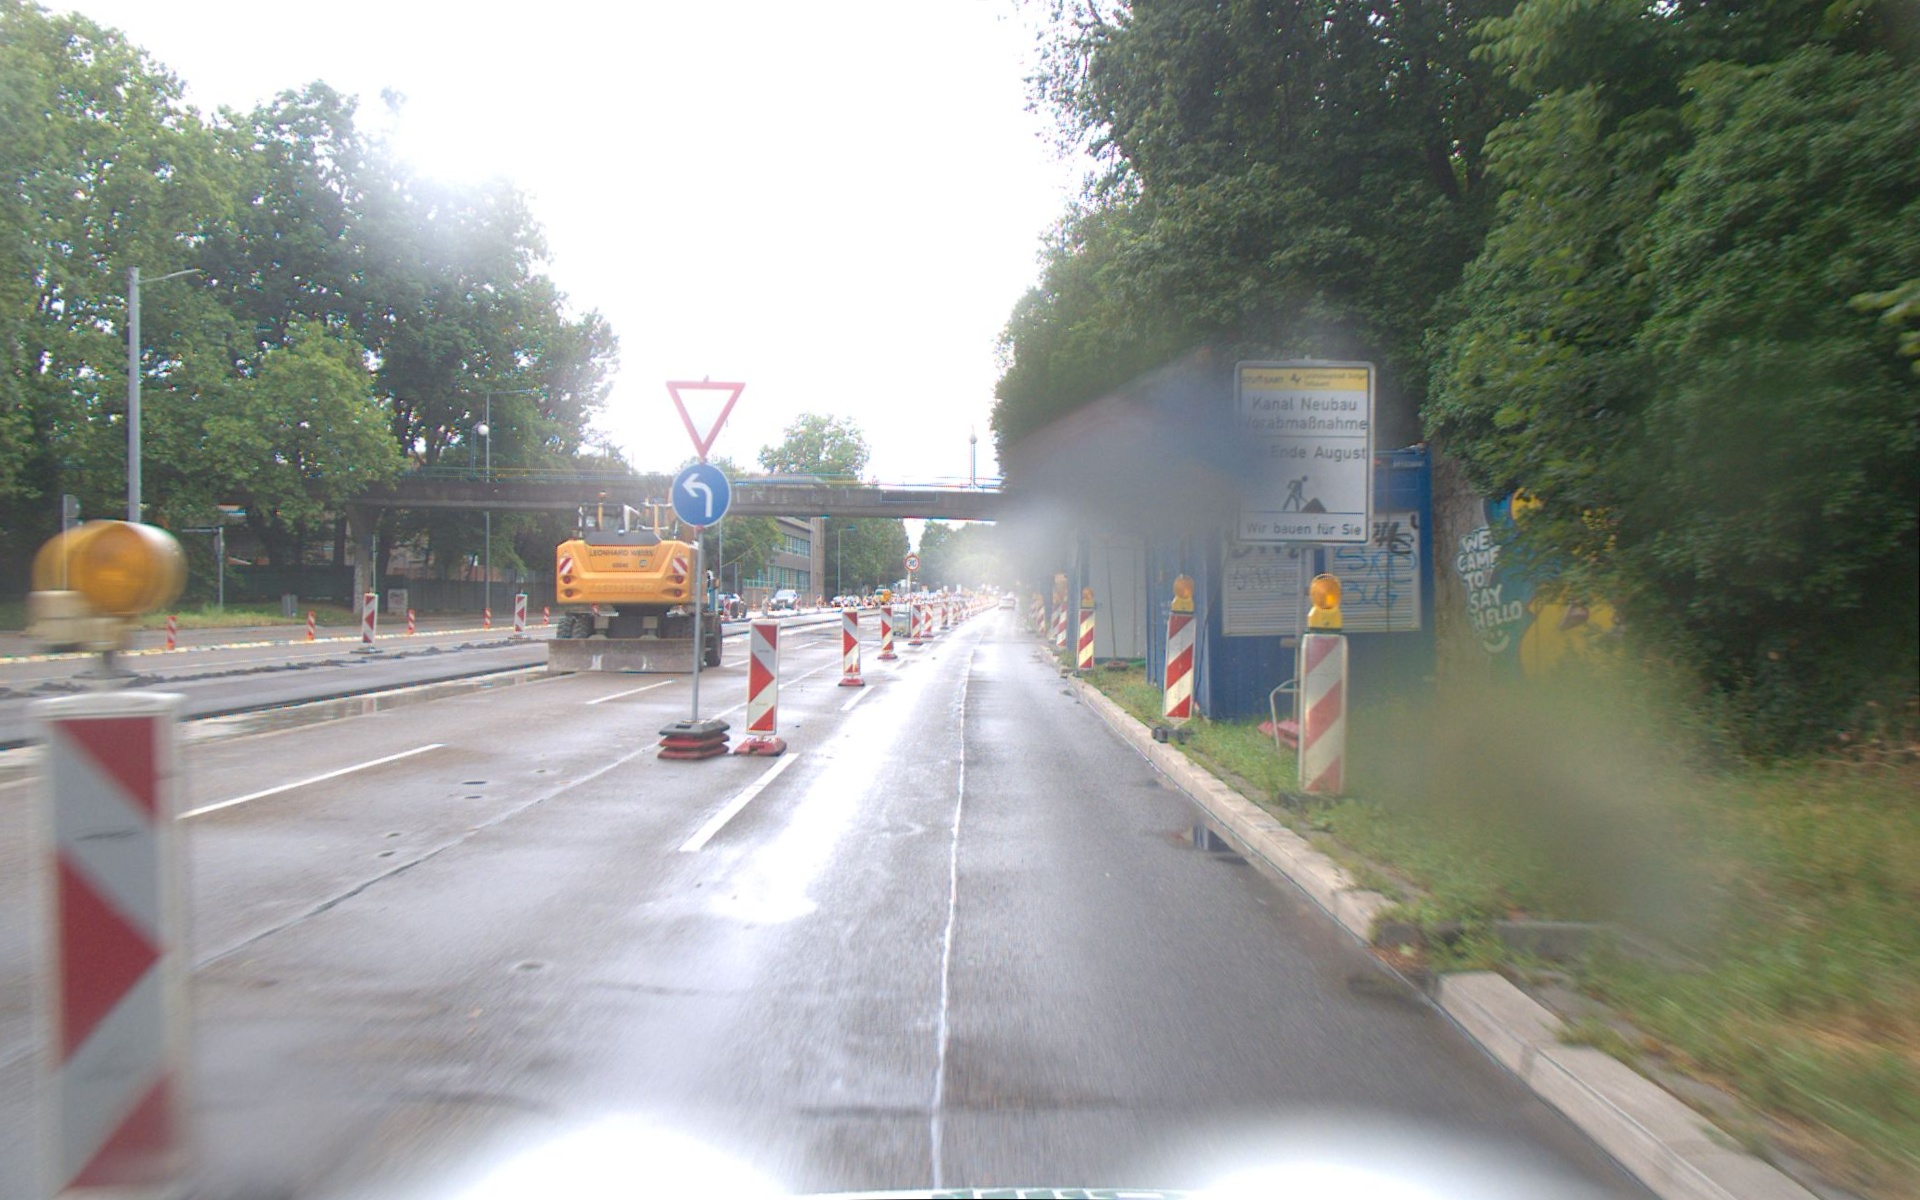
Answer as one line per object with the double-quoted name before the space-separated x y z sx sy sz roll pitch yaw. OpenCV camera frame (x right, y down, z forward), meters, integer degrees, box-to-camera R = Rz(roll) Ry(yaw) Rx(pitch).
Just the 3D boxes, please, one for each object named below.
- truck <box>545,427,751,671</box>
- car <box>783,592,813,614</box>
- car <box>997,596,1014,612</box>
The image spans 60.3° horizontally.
"truck" -6.317 -0.945 35.274 2.840 4.333 10.749 1 0 -3
"car" -13.896 0.257 142.275 1.930 1.837 4.609 0 0 3
"car" 5.065 0.448 183.882 1.952 1.668 4.001 0 0 1
